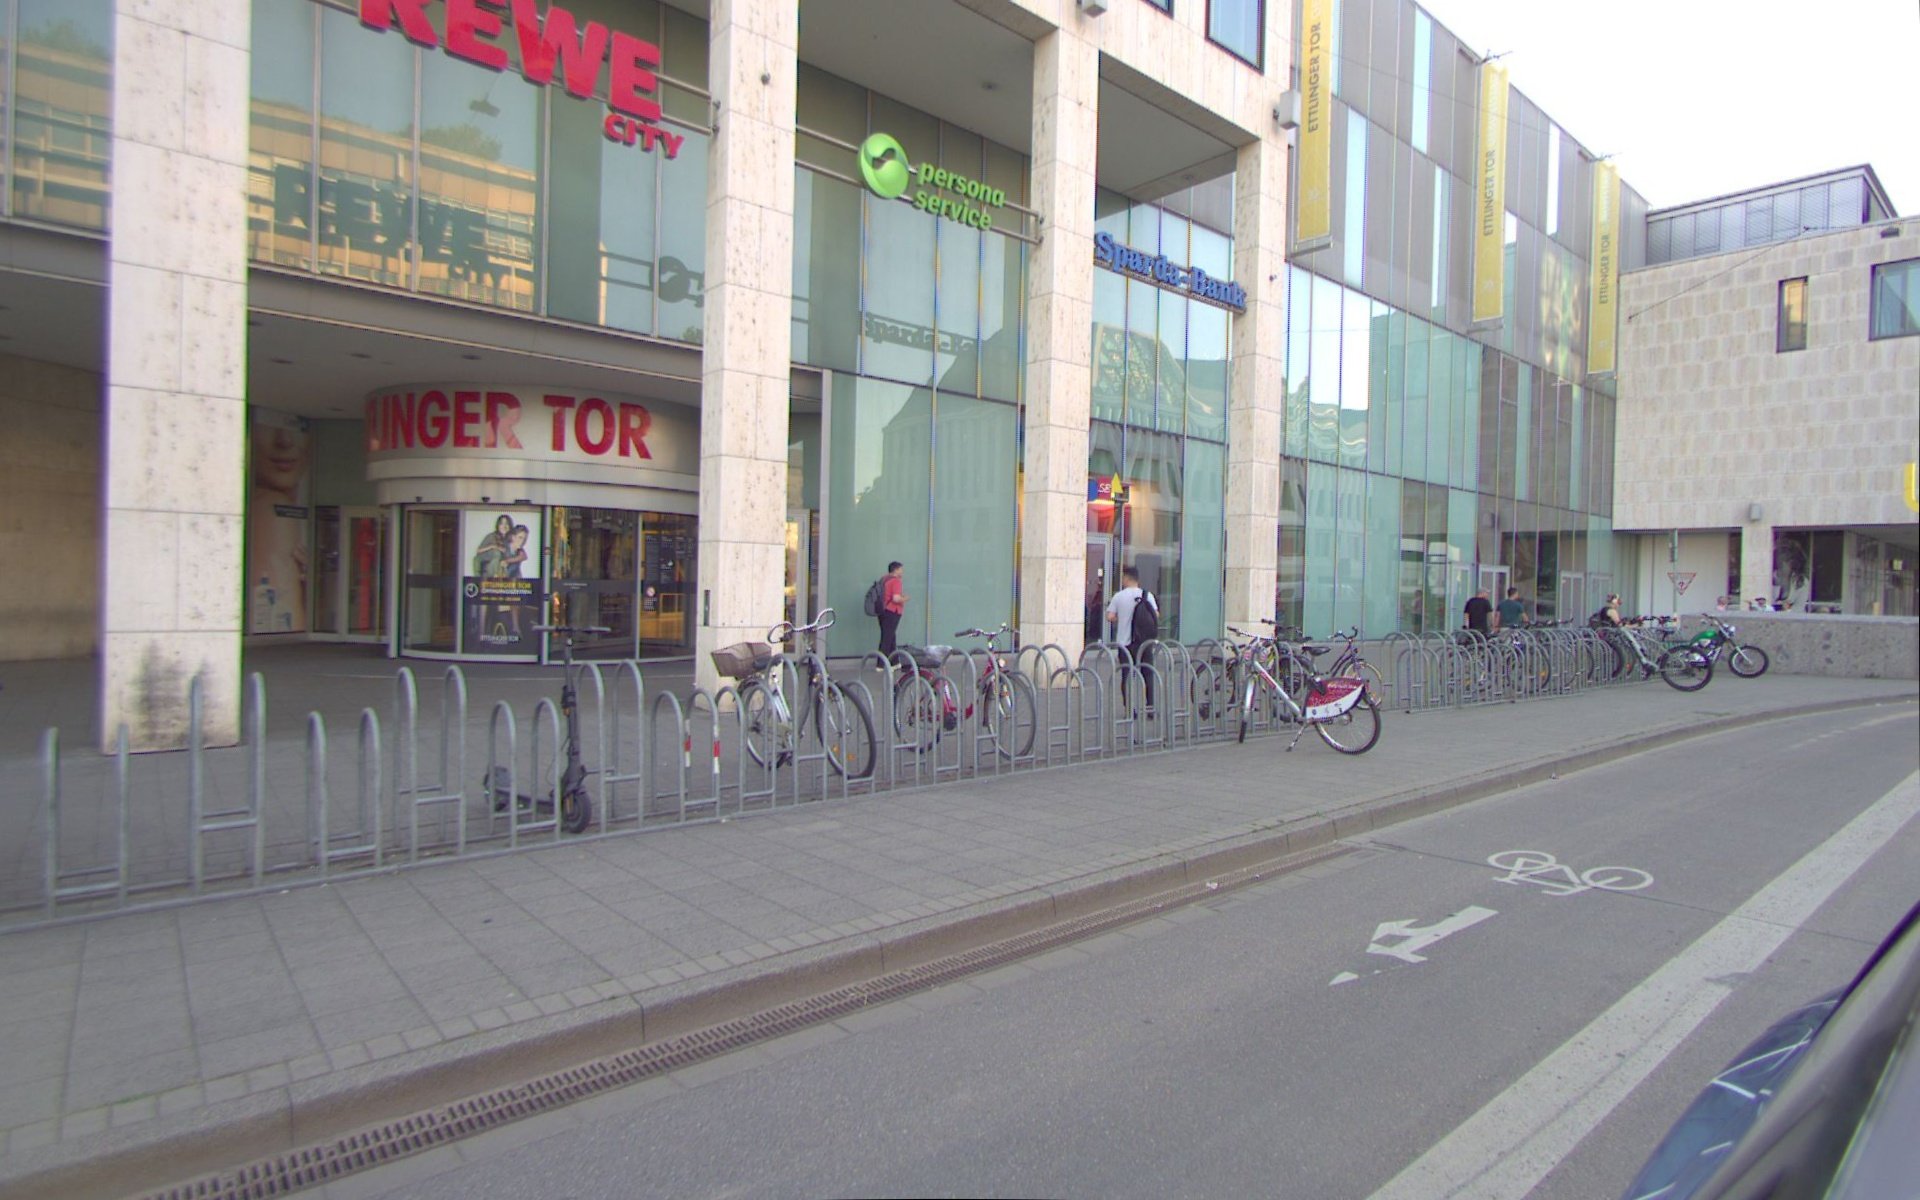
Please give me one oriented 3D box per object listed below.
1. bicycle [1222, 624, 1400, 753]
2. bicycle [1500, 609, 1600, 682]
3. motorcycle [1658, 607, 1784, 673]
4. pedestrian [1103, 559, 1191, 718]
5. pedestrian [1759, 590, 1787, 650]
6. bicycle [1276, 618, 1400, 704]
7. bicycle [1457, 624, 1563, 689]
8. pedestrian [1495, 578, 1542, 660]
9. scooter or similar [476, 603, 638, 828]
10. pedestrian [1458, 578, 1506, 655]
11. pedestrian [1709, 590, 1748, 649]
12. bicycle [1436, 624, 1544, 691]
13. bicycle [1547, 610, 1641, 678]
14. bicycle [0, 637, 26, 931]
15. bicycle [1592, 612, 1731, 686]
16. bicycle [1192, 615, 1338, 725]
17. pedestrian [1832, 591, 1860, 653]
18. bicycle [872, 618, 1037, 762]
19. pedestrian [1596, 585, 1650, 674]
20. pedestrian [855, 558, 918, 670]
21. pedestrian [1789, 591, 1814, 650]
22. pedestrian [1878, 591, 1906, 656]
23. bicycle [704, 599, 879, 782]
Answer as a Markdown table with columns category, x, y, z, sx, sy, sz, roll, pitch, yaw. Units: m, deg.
| category | x | y | z | sx | sy | sz | roll | pitch | yaw |
| --- | --- | --- | --- | --- | --- | --- | --- | --- | --- |
| bicycle | 3.169 | 0.760 | 9.245 | 0.458 | 1.077 | 1.518 | 1 | -2 | -39 |
| bicycle | 9.830 | 0.738 | 16.892 | 0.509 | 1.179 | 1.344 | 1 | -2 | -41 |
| motorcycle | 15.578 | 0.792 | 20.763 | 0.472 | 1.239 | 2.004 | 1 | 1 | -43 |
| pedestrian | 2.096 | 0.408 | 11.385 | 0.617 | 1.713 | 0.708 | 1 | 1 | -31 |
| pedestrian | 24.562 | 0.599 | 30.590 | 0.644 | 1.765 | 0.494 | 1 | 1 | -38 |
| bicycle | 5.011 | 0.781 | 13.447 | 1.439 | 1.078 | 0.572 | -1 | -2 | 39 |
| bicycle | 8.454 | 0.855 | 15.582 | 0.509 | 0.944 | 1.344 | 1 | -2 | -41 |
| pedestrian | 12.059 | 0.403 | 21.864 | 0.696 | 1.717 | 0.808 | 2 | 1 | 41 |
| scooter or similar | -2.520 | 0.651 | 6.273 | 0.484 | 1.214 | 1.194 | 1 | 1 | -44 |
| pedestrian | 11.654 | 0.357 | 22.602 | 0.738 | 1.668 | 0.808 | 2 | 1 | 41 |
| pedestrian | 23.876 | 0.595 | 31.432 | 0.644 | 1.765 | 0.794 | 1 | 1 | -38 |
| bicycle | 7.943 | 0.843 | 15.203 | 0.509 | 0.944 | 1.344 | 1 | -2 | -41 |
| bicycle | 11.393 | 0.771 | 18.217 | 0.509 | 1.179 | 1.344 | 1 | -2 | -41 |
| bicycle | -4.556 | 0.732 | 4.475 | 1.768 | 1.092 | 0.475 | 3 | 1 | 43 |
| bicycle | 11.564 | 0.775 | 16.741 | 0.458 | 1.161 | 1.837 | 1 | -2 | -39 |
| bicycle | 3.377 | 0.742 | 11.308 | 0.569 | 1.138 | 1.519 | 1 | -2 | -36 |
| pedestrian | 25.874 | 0.633 | 29.561 | 0.483 | 1.765 | 0.504 | 1 | 1 | -38 |
| bicycle | -0.077 | 0.714 | 8.667 | 0.543 | 1.120 | 1.516 | 1 | -2 | -43 |
| pedestrian | 12.793 | 0.554 | 19.546 | 0.802 | 1.663 | 0.640 | 2 | 1 | 31 |
| pedestrian | -1.140 | 0.207 | 15.621 | 0.695 | 1.672 | 0.629 | 1 | 1 | -40 |
| pedestrian | 25.654 | 0.614 | 30.842 | 0.483 | 1.765 | 0.455 | 1 | 1 | -38 |
| pedestrian | 25.598 | 0.638 | 27.797 | 0.483 | 1.765 | 0.455 | 1 | 1 | -38 |
| bicycle | -1.308 | 0.626 | 7.664 | 0.607 | 1.243 | 1.517 | 1 | -2 | -41 |
